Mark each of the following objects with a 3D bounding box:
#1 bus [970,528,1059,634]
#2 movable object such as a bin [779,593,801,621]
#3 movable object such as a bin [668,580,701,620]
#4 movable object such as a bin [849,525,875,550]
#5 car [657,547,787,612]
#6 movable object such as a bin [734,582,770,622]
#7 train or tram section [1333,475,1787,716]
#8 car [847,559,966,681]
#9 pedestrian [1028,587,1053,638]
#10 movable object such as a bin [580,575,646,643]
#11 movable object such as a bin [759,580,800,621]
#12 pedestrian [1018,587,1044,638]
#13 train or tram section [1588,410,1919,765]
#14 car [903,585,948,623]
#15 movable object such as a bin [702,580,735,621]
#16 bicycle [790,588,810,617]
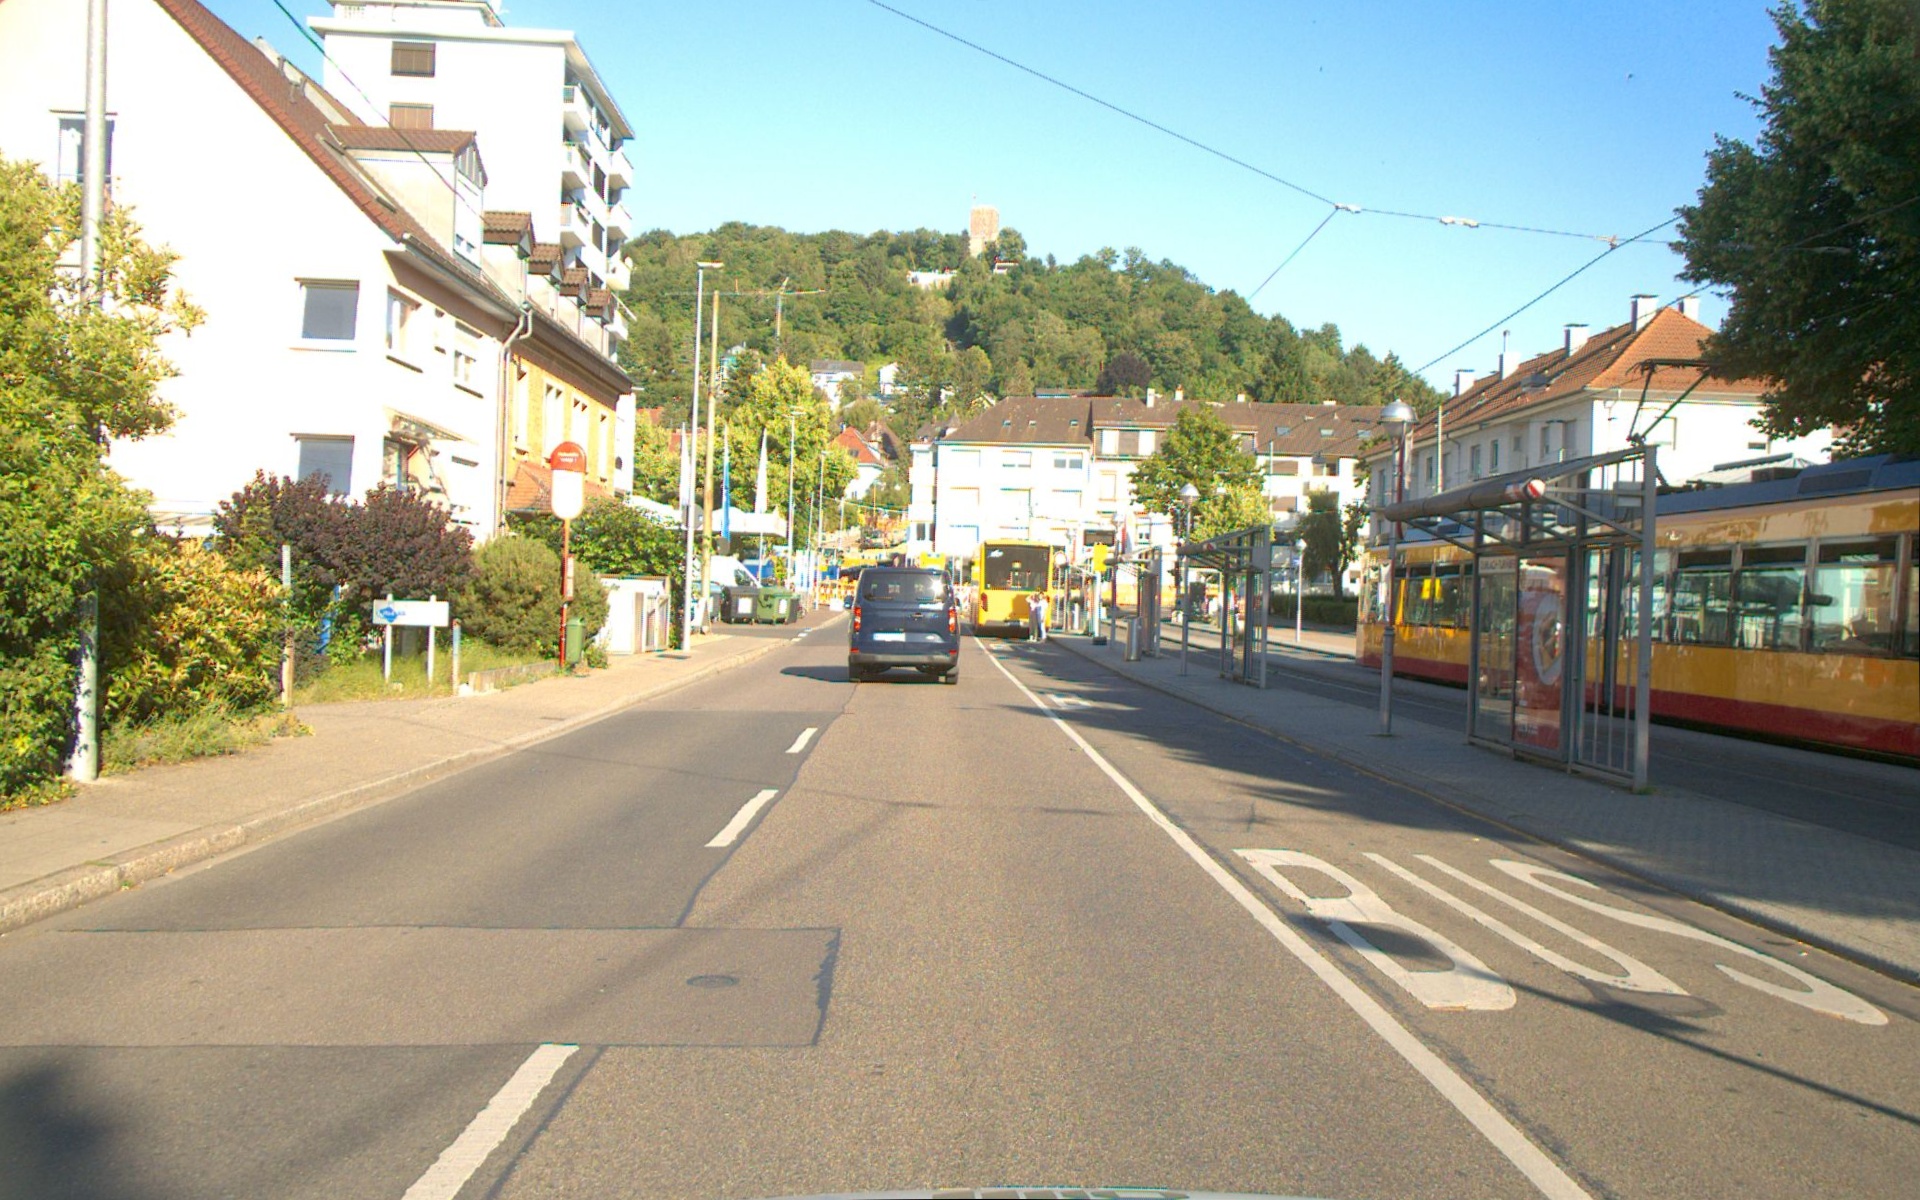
[{"bbox_3d":[1.851,-0.732,61.587,2.634,3.475,12.017,2,1,-1],"label":"bus"},{"bbox_3d":[-6.857,0.283,66.695,0.646,1.080,0.585,4,2,11],"label":"movable object such as a bin"},{"bbox_3d":[-10.657,-0.001,63.967,1.155,1.508,0.703,1,3,-6],"label":"movable object such as a bin"},{"bbox_3d":[-11.712,-7.455,197.568,2.144,2.737,4.004,2,1,10],"label":"movable object such as a bin"},{"bbox_3d":[-10.018,-0.845,69.578,4.987,2.512,2.094,2,0,-23],"label":"car"},{"bbox_3d":[-8.105,0.084,64.450,1.205,1.508,0.697,0,4,-30],"label":"movable object such as a bin"},{"bbox_3d":[10.851,-0.013,32.905,2.897,3.596,15.965,1,0,-1],"label":"train or tram section"},{"bbox_3d":[-0.957,0.325,30.523,2.020,2.049,4.999,0,0,-1],"label":"car"},{"bbox_3d":[2.627,0.419,54.091,0.540,1.641,0.542,1,0,-39],"label":"pedestrian"},{"bbox_3d":[-7.679,0.187,36.623,1.282,1.454,0.991,1,0,-5],"label":"movable object such as a bin"},{"bbox_3d":[-7.131,0.007,65.444,1.034,1.508,1.311,3,4,27],"label":"movable object such as a bin"},{"bbox_3d":[2.331,0.419,54.478,0.540,1.641,0.627,1,0,-38],"label":"pedestrian"},{"bbox_3d":[11.147,-0.101,18.451,2.897,3.596,13.460,1,0,-1],"label":"train or tram section"},{"bbox_3d":[-1.419,0.153,67.457,1.758,1.434,3.999,2,0,-2],"label":"car"},{"bbox_3d":[-9.372,0.021,64.146,1.194,1.508,0.703,1,3,-6],"label":"movable object such as a bin"},{"bbox_3d":[-7.002,0.100,72.165,0.710,1.198,1.777,2,0,-10],"label":"bicycle"}]
